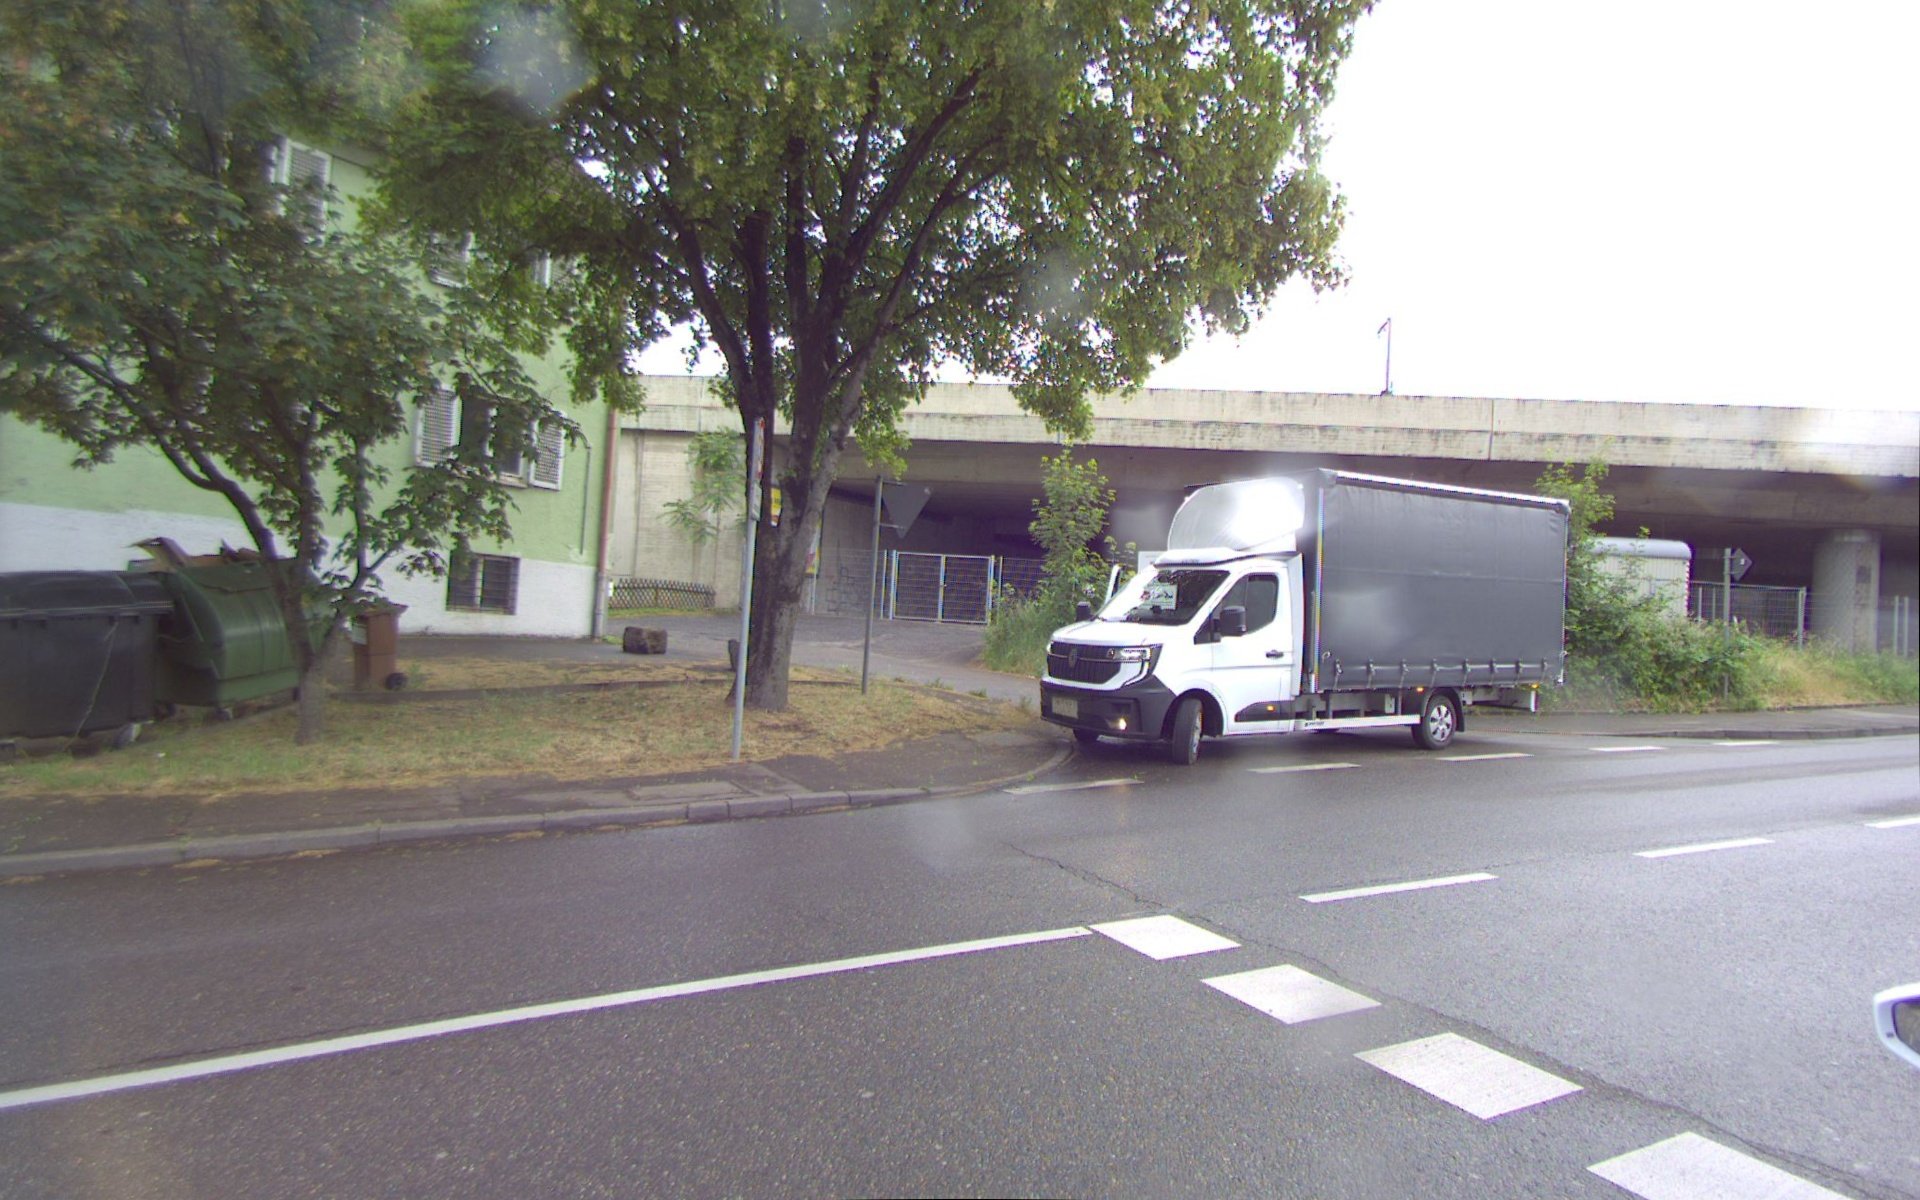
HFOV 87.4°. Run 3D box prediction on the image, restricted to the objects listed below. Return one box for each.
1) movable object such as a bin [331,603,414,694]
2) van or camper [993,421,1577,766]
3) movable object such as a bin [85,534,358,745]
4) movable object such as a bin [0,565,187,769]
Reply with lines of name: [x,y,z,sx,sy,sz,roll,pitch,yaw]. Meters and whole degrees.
movable object such as a bin: [-6.357,0.512,10.880,0.531,0.922,0.562,2,2,22]
van or camper: [4.403,0.055,12.928,7.670,3.379,2.686,2,-1,-30]
movable object such as a bin: [-6.889,0.295,9.450,1.547,1.785,1.453,2,2,22]
movable object such as a bin: [-7.408,0.458,8.036,1.444,1.460,1.376,2,2,22]
